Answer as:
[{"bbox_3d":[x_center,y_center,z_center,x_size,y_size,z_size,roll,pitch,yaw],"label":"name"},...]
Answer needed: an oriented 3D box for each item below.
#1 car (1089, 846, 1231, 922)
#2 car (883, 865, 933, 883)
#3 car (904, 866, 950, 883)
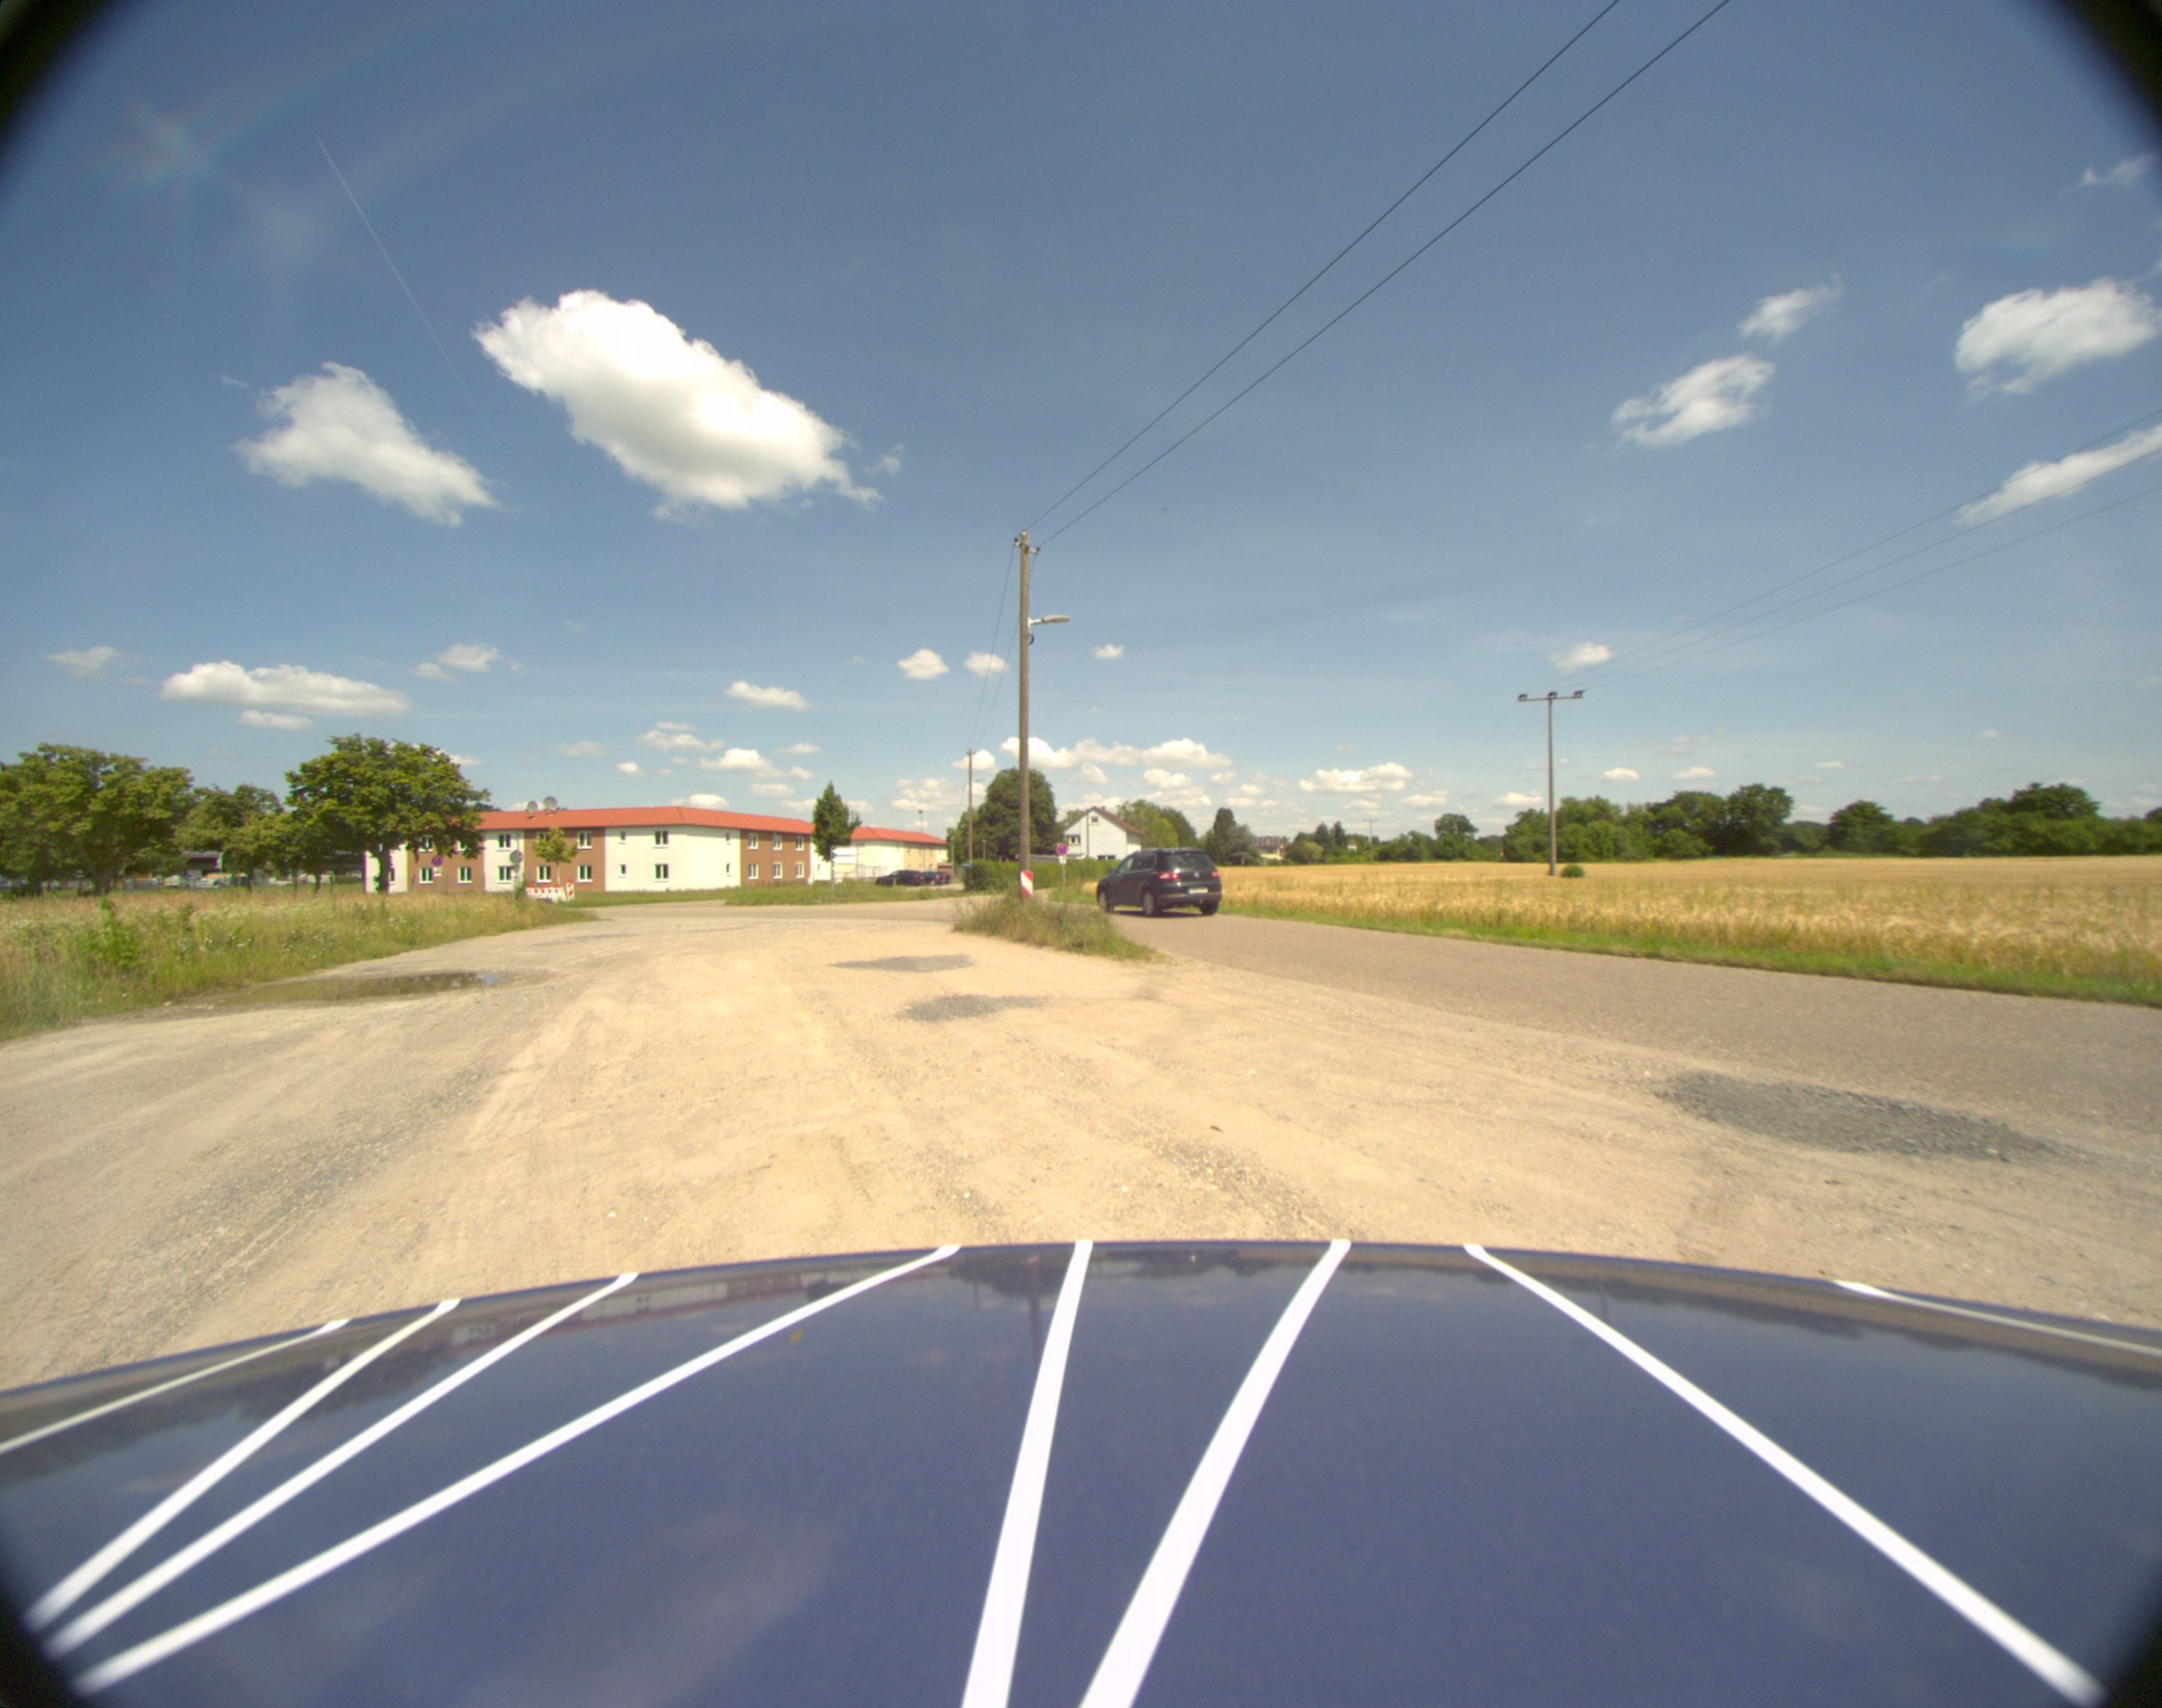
[{"bbox_3d":[1.866,0.694,19.467,1.751,1.669,4.247,-2,0,-23],"label":"car"},{"bbox_3d":[-16.512,1.908,72.676,4.142,1.605,2.002,-1,-1,10],"label":"car"},{"bbox_3d":[-15.491,2.072,76.493,4.142,1.605,2.002,-1,-1,10],"label":"car"}]
